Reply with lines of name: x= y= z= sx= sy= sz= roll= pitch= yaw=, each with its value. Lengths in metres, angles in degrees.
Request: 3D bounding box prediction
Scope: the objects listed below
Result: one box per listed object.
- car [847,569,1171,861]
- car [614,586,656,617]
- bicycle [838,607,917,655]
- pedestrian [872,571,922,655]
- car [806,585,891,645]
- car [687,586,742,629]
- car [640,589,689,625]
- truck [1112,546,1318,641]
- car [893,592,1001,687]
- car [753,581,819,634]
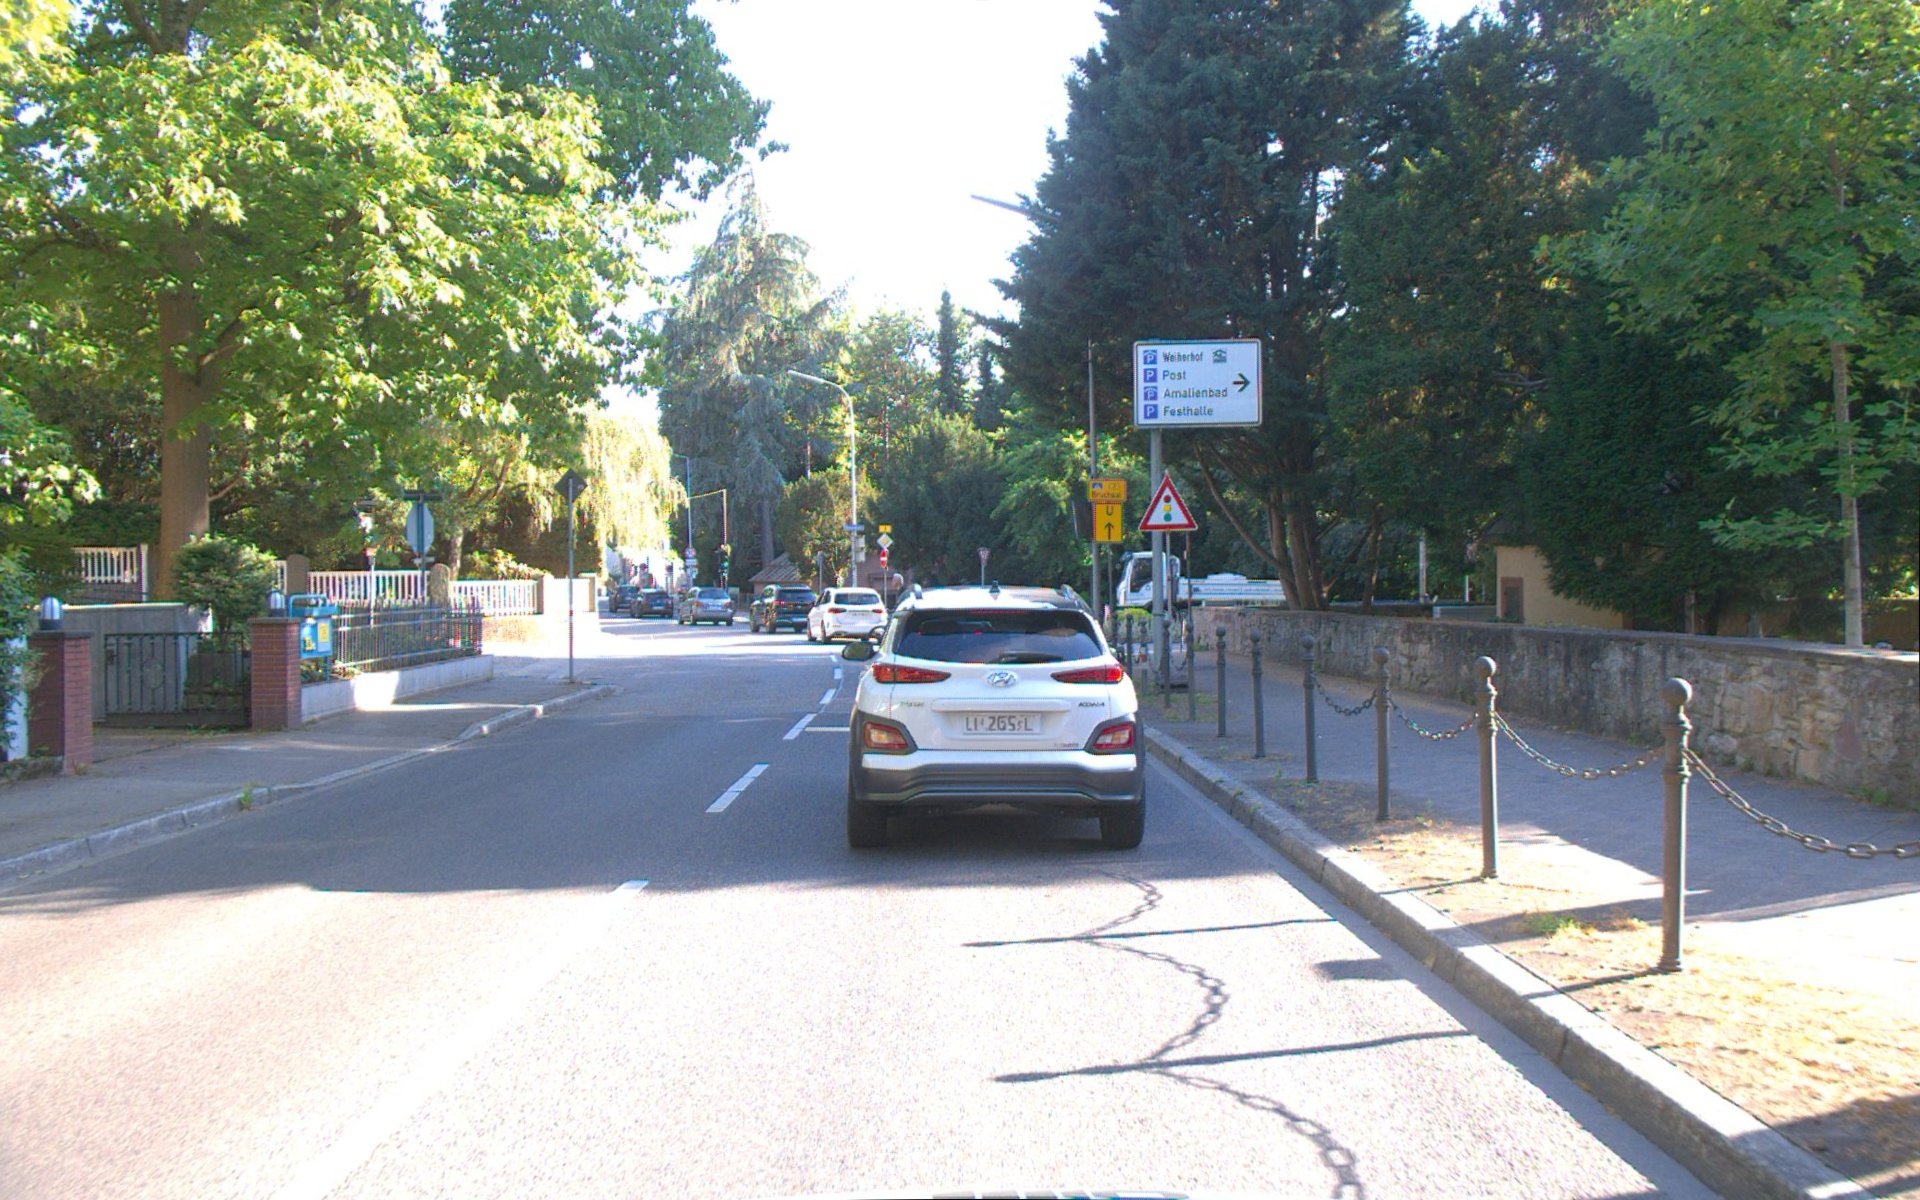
car: x=0.234 y=0.633 z=11.247 sx=1.783 sy=1.601 sz=3.999 roll=1 pitch=0 yaw=-1
car: x=-18.523 y=0.083 z=94.021 sx=1.804 sy=1.691 sz=3.978 roll=1 pitch=0 yaw=-19
bicycle: x=-1.884 y=0.704 z=37.910 sx=1.799 sy=1.061 sz=0.554 roll=1 pitch=2 yaw=-39
pedestrian: x=-1.433 y=0.298 z=37.646 sx=0.934 sy=1.858 sz=0.547 roll=1 pitch=2 yaw=-40
car: x=-3.136 y=0.384 z=45.852 sx=1.774 sy=1.564 sz=3.988 roll=1 pitch=0 yaw=-12
car: x=-10.515 y=0.303 z=70.635 sx=1.802 sy=1.771 sz=3.982 roll=1 pitch=0 yaw=-16
car: x=-14.565 y=0.322 z=81.398 sx=1.803 sy=1.691 sz=3.980 roll=1 pitch=0 yaw=-18
truck: x=8.280 y=-0.219 z=54.293 sx=6.449 sy=2.945 sz=2.434 roll=1 pitch=0 yaw=4
car: x=-0.238 y=0.608 z=28.103 sx=1.673 sy=1.459 sz=4.364 roll=1 pitch=0 yaw=-1
car: x=-5.933 y=0.226 z=56.112 sx=1.799 sy=1.691 sz=3.988 roll=1 pitch=0 yaw=-12
